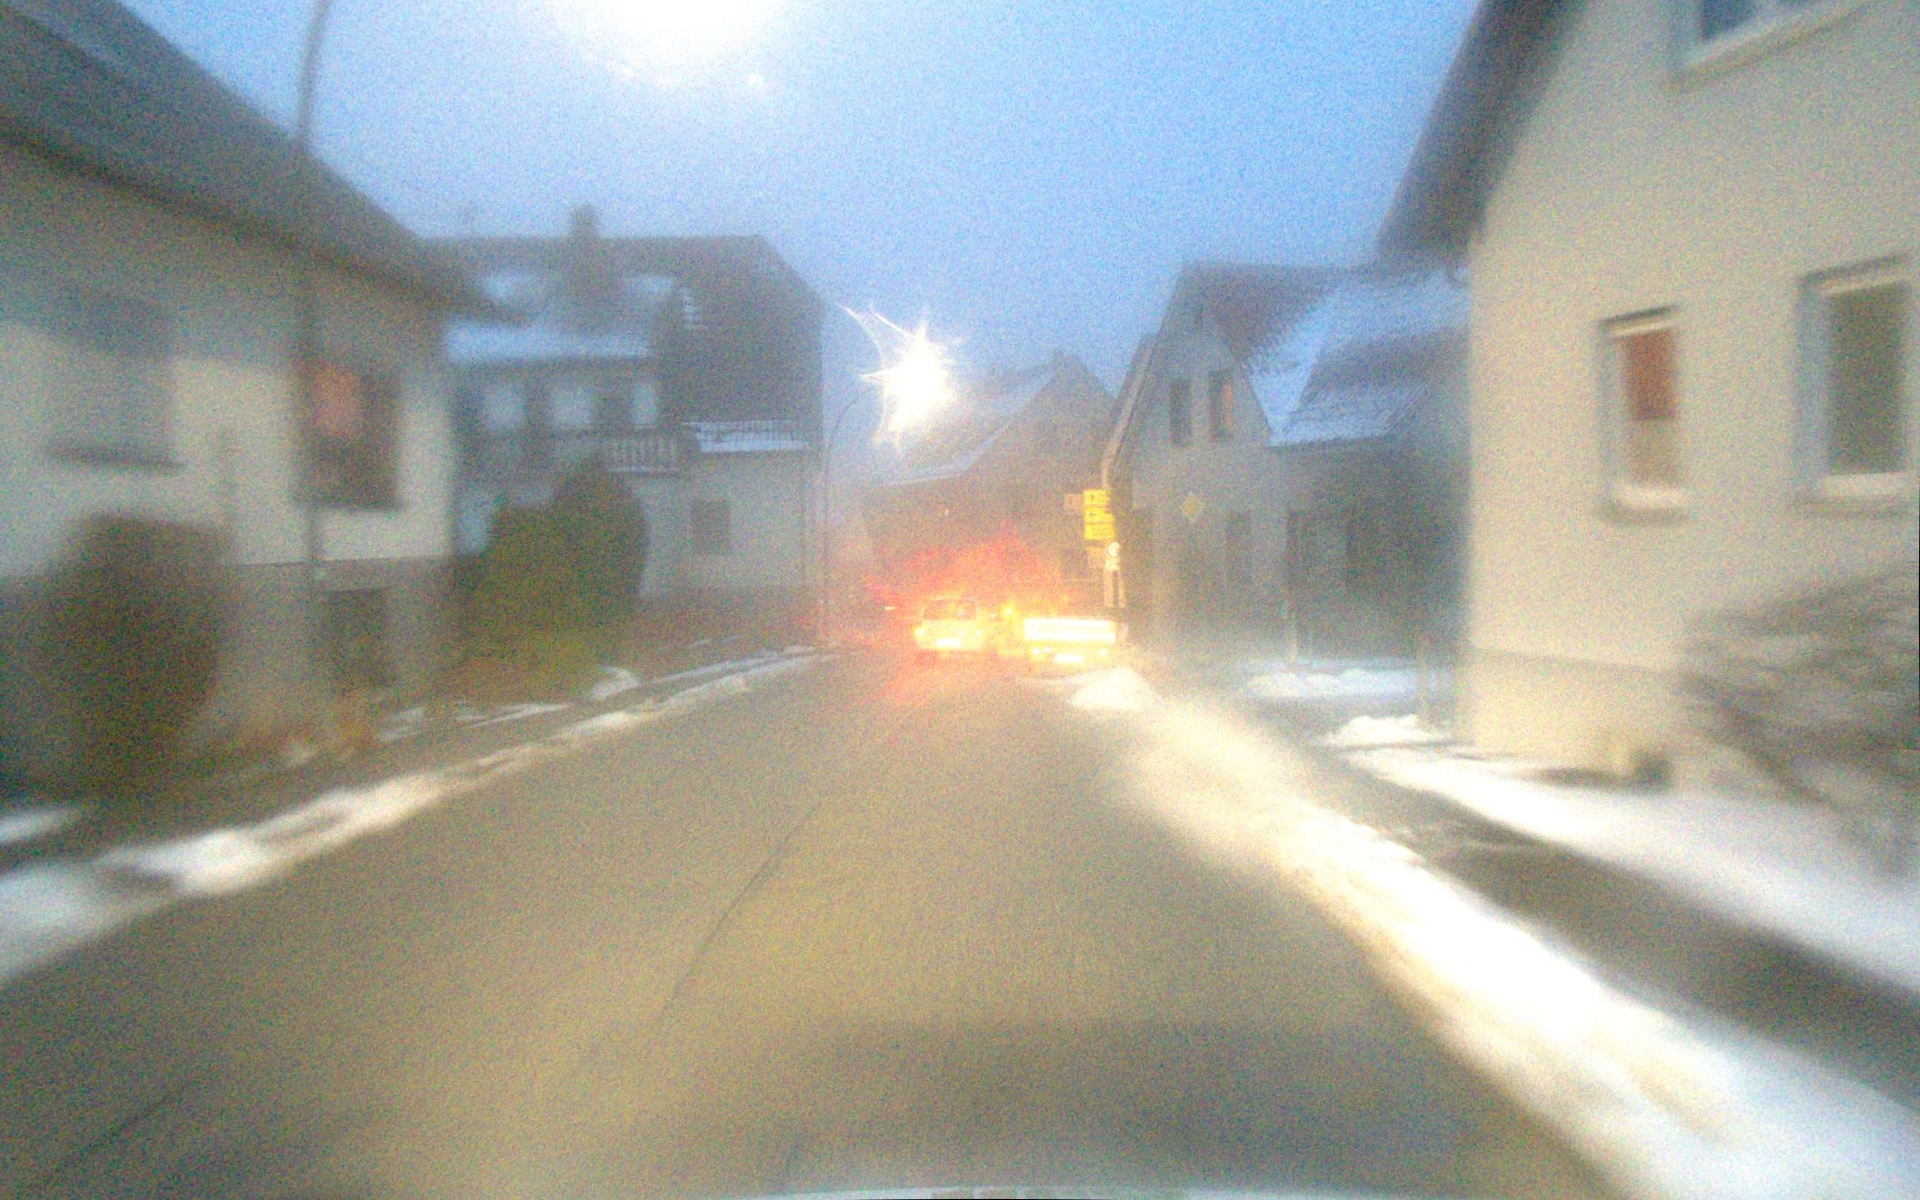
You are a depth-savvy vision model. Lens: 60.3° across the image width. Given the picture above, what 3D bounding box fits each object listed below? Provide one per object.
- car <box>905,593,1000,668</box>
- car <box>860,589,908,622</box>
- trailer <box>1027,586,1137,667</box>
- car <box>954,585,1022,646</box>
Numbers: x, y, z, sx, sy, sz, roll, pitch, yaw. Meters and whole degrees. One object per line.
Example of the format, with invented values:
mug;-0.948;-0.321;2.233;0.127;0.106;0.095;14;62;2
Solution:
car;-0.108;0.668;36.504;1.952;1.534;4.000;1;-1;1
car;-3.802;0.256;82.018;1.875;1.506;4.273;-1;1;-9
trailer;2.342;0.457;32.008;1.952;1.412;4.734;1;1;4
car;0.852;0.488;50.142;1.952;1.758;4.000;1;-1;1
